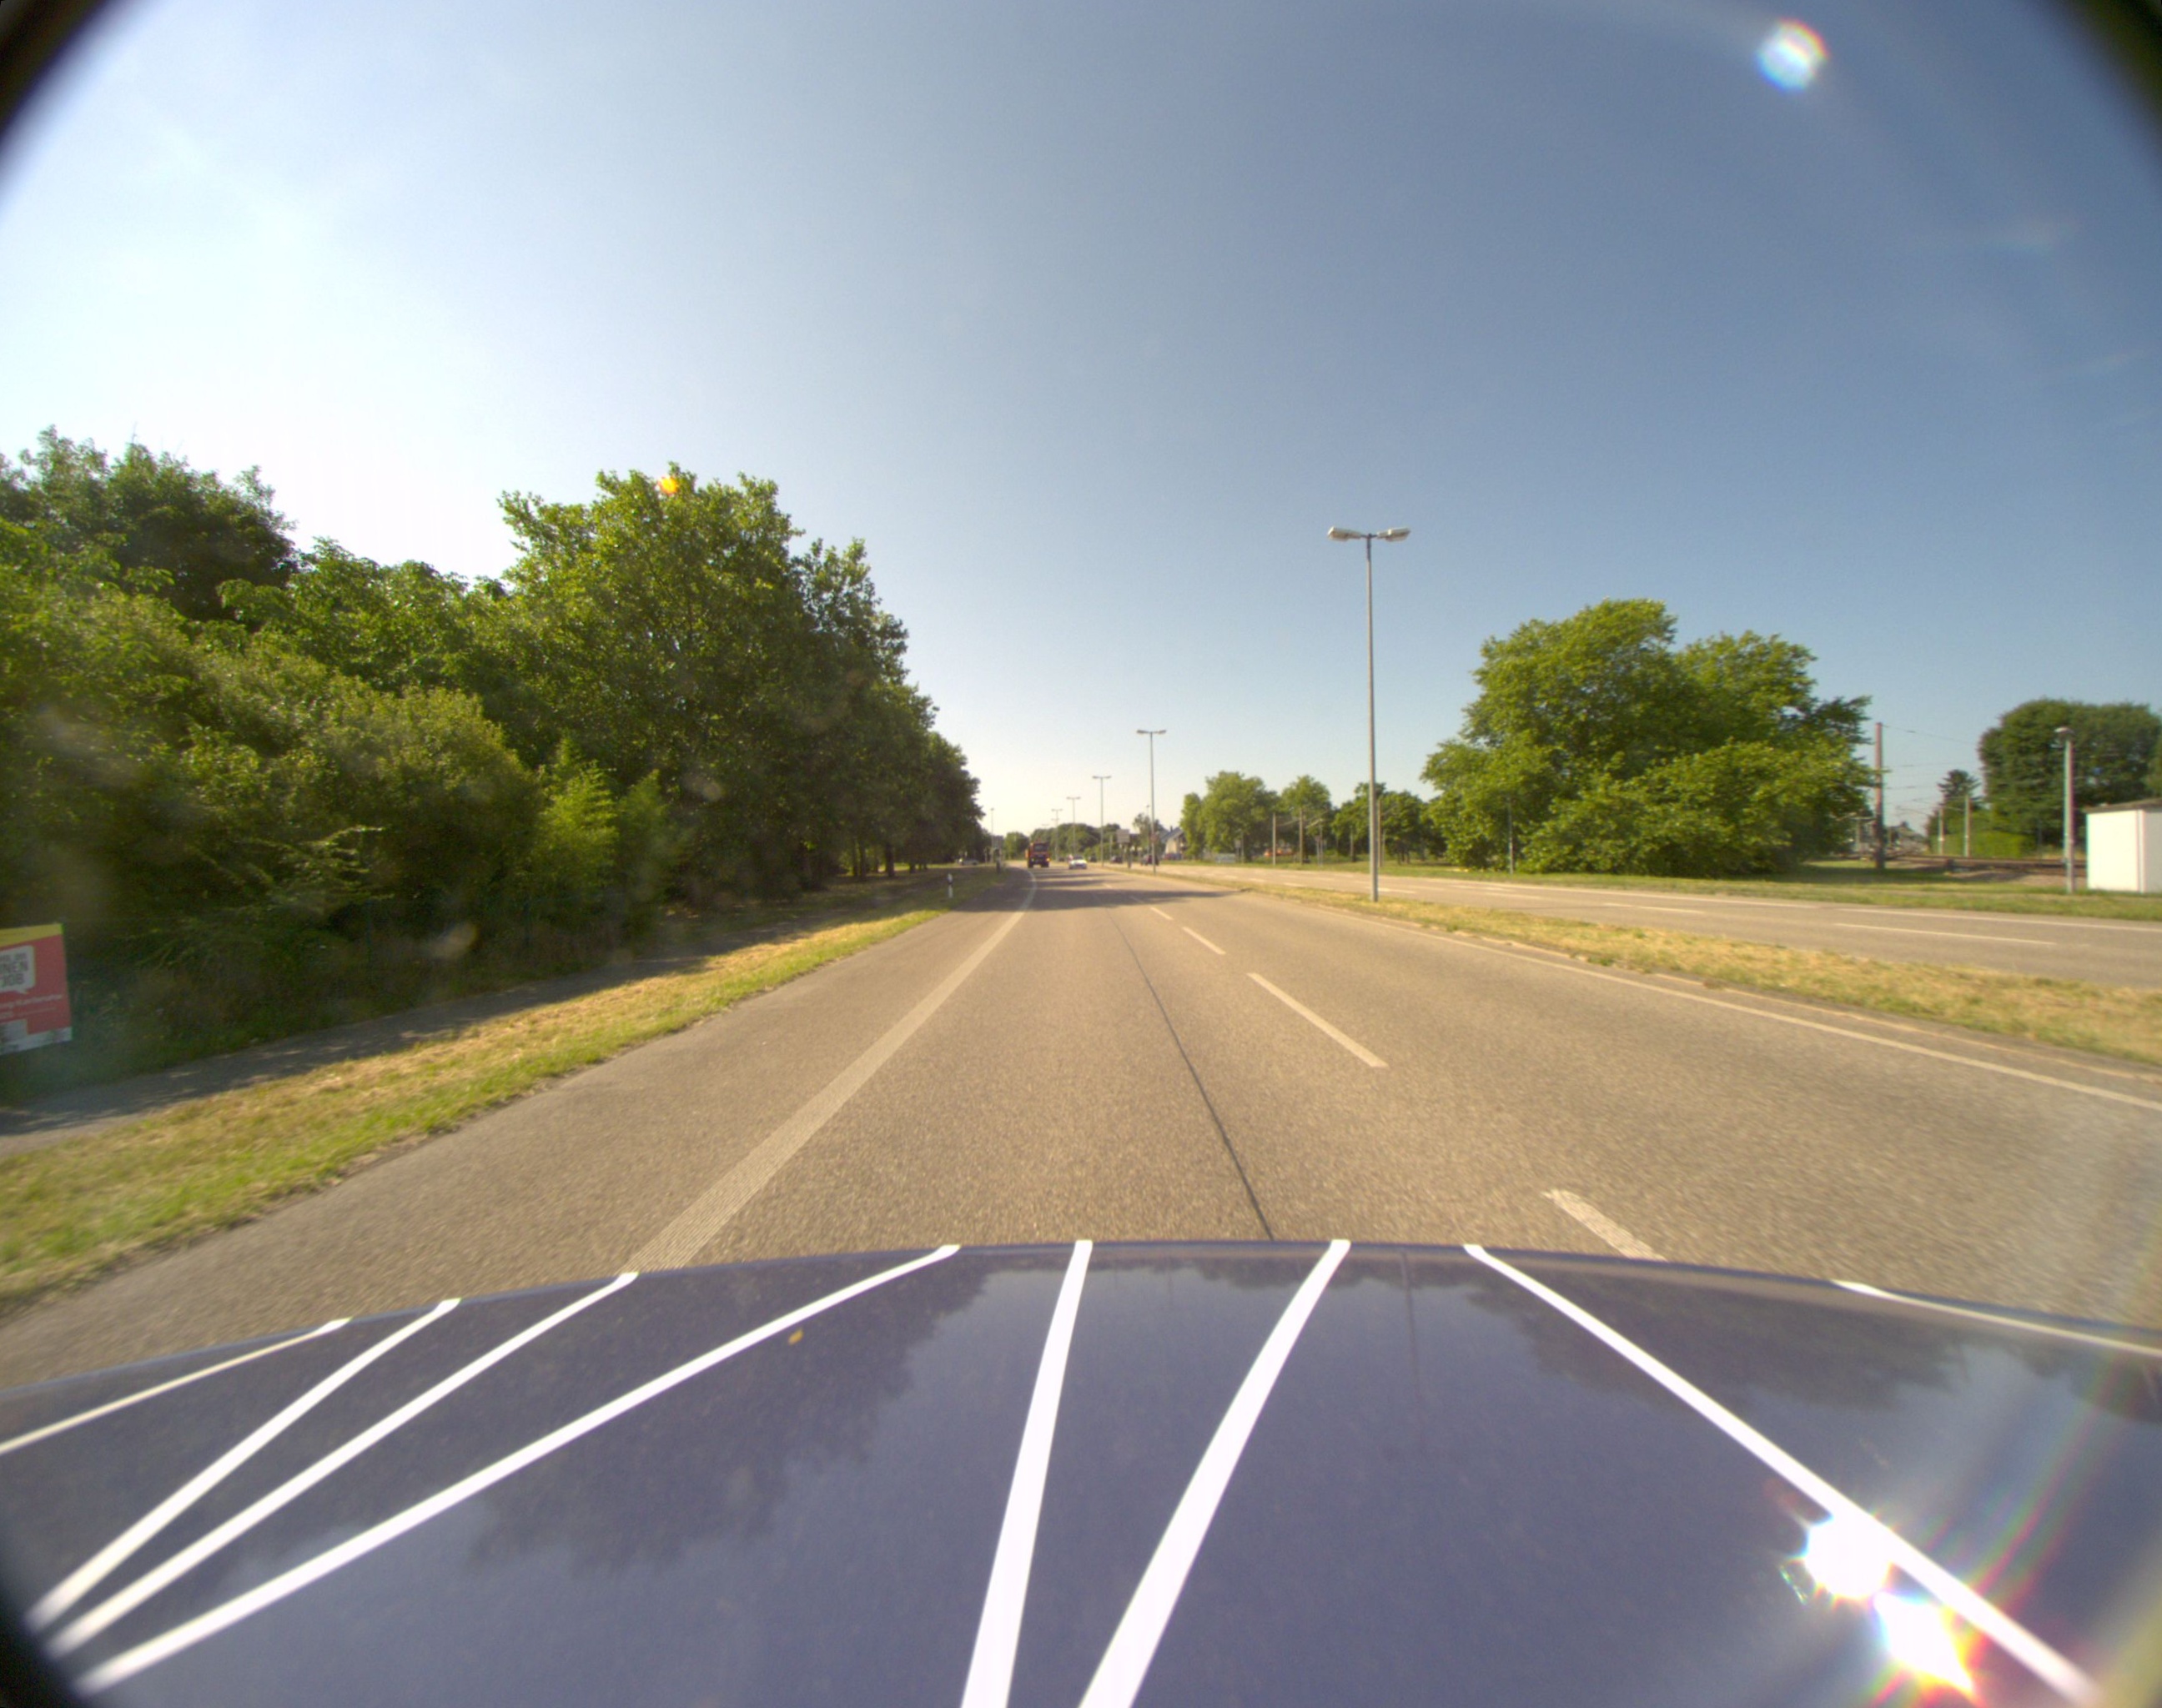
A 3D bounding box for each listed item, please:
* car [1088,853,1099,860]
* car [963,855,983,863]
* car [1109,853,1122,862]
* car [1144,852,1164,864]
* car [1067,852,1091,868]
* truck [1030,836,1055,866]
[{"bbox_3d":[2.854,0.586,169.226,1.868,1.536,4.403,-2,0,-7],"label":"car"},{"bbox_3d":[-22.553,0.965,158.309,4.064,1.555,1.741,-1,0,-7],"label":"car"},{"bbox_3d":[6.240,0.589,136.885,1.836,1.457,4.467,-1,0,-4],"label":"car"},{"bbox_3d":[10.290,0.556,107.711,1.988,1.650,4.552,-1,0,-6],"label":"car"},{"bbox_3d":[-0.256,0.625,83.419,1.870,1.499,4.332,-3,1,-9],"label":"car"},{"bbox_3d":[-5.272,-0.428,104.051,2.942,3.852,6.587,-1,0,-7],"label":"truck"}]
